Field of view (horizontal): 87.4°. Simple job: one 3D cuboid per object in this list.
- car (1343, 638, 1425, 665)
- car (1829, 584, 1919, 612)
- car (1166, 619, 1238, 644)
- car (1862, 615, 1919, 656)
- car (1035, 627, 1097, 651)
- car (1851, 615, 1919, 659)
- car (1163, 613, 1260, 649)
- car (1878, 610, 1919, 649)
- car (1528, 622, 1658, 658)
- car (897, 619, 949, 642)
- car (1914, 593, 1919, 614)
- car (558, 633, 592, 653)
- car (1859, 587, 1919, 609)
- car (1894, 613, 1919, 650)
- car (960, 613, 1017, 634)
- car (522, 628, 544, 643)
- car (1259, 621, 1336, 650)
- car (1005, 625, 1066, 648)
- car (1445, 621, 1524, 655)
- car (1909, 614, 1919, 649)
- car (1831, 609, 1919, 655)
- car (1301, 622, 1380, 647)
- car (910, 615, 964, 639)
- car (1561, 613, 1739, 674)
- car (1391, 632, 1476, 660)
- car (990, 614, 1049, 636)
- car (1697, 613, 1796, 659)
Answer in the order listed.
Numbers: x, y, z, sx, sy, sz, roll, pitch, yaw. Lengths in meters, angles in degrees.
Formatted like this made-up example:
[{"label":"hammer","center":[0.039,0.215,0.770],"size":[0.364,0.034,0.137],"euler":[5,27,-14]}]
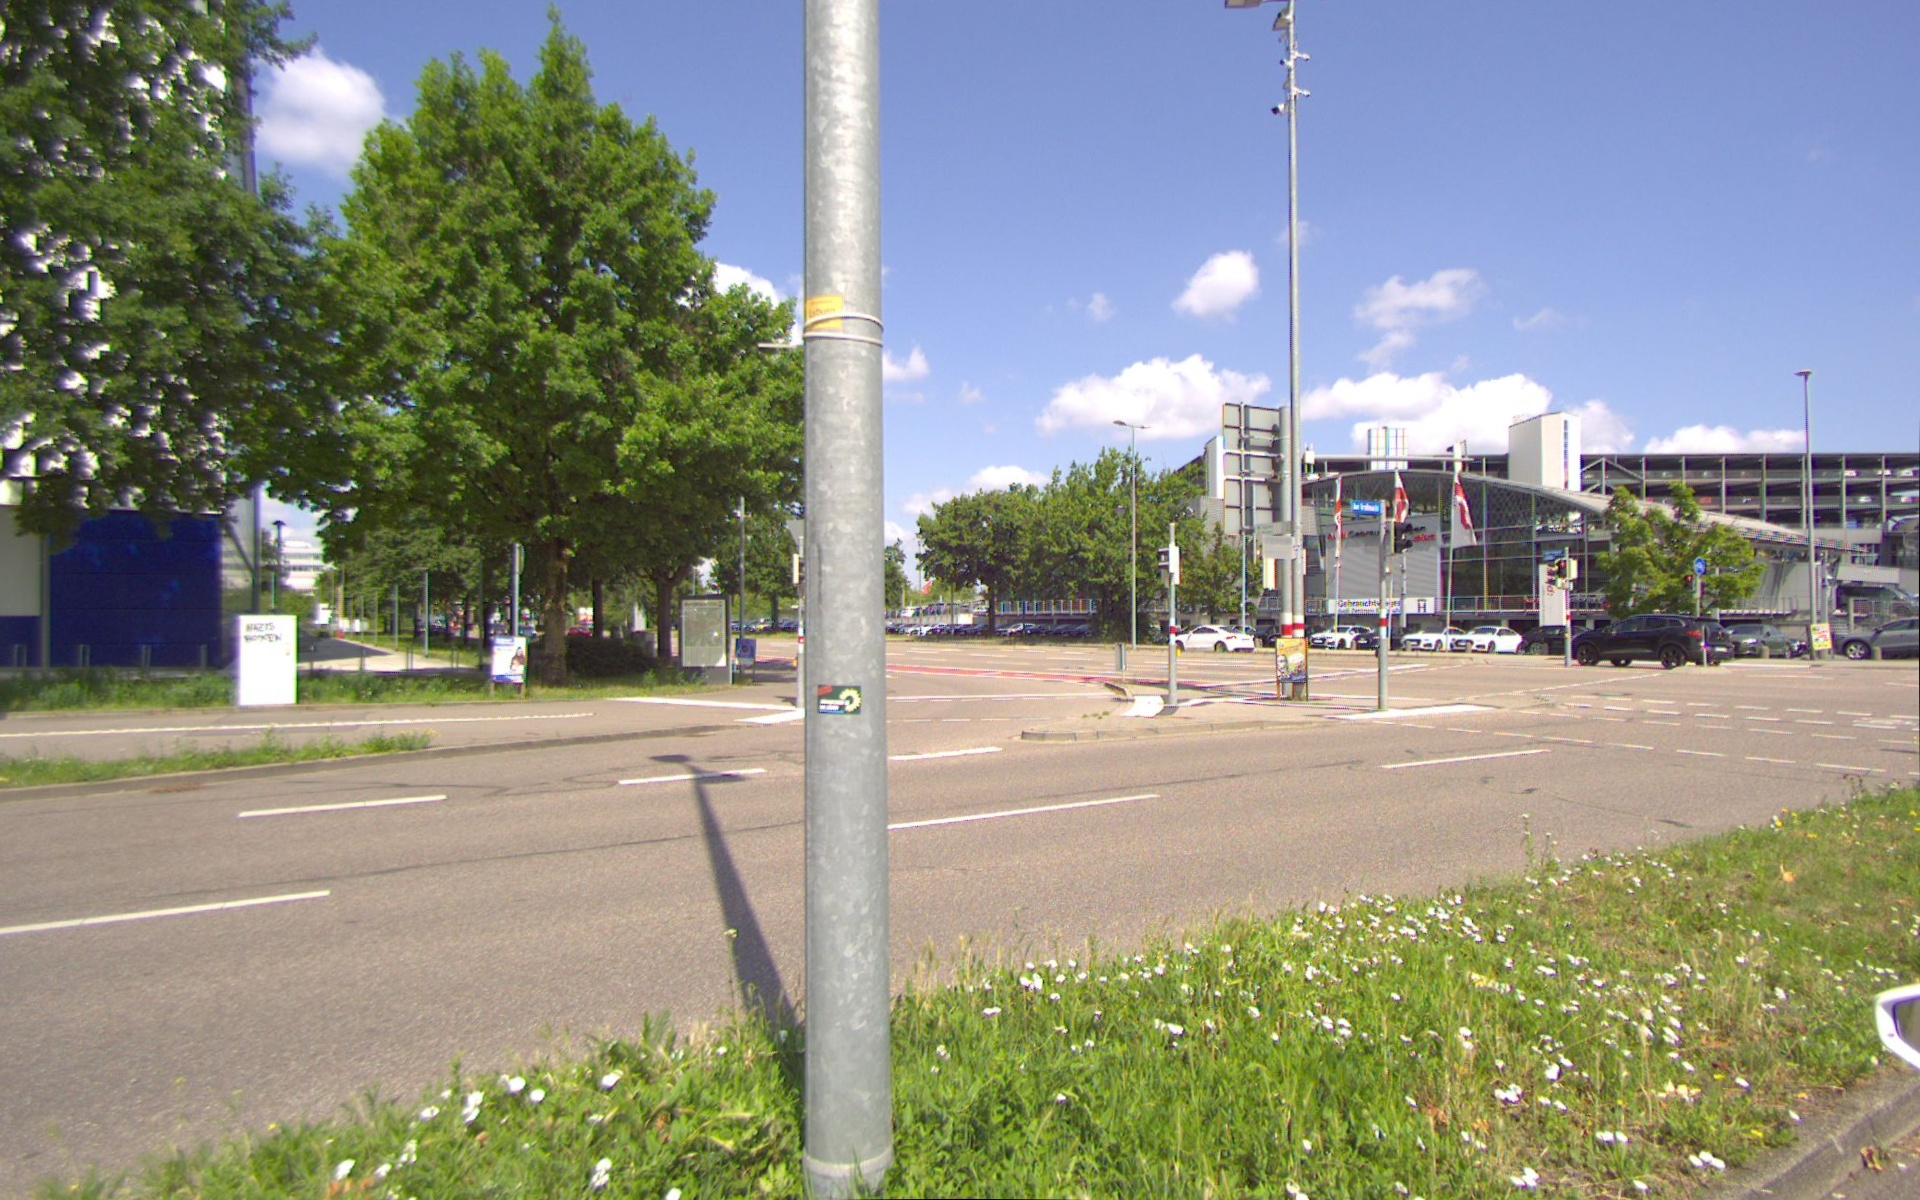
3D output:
[{"label":"car","center":[22.573,2.737,53.386],"size":[4.544,1.314,1.888],"euler":[2,0,-35]},{"label":"car","center":[63.993,-0.167,70.390],"size":[1.748,1.825,4.411],"euler":[2,0,-35]},{"label":"car","center":[15.448,2.024,64.054],"size":[4.545,1.423,1.888],"euler":[3,-1,-35]},{"label":"car","center":[41.829,1.553,42.938],"size":[1.887,1.700,4.548],"euler":[2,0,-33]},{"label":"car","center":[8.051,2.929,75.891],"size":[4.544,1.700,1.888],"euler":[2,0,-35]},{"label":"car","center":[39.545,1.540,40.915],"size":[1.887,1.700,4.548],"euler":[2,0,-33]},{"label":"car","center":[11.313,1.359,45.350],"size":[1.845,1.461,3.955],"euler":[2,0,-38]},{"label":"car","center":[43.971,1.367,44.475],"size":[1.887,1.700,4.548],"euler":[2,0,-33]},{"label":"car","center":[28.641,1.808,45.590],"size":[1.778,1.483,4.710],"euler":[5,-4,-35]},{"label":"car","center":[-3.422,2.851,93.599],"size":[4.544,2.076,1.888],"euler":[2,0,-35]},{"label":"car","center":[74.884,0.297,75.881],"size":[1.752,1.572,3.951],"euler":[2,0,-41]},{"label":"car","center":[-35.512,3.926,92.627],"size":[1.831,1.623,4.518],"euler":[1,-1,-36]},{"label":"car","center":[68.247,-0.153,73.183],"size":[1.752,1.572,3.951],"euler":[2,0,-41]},{"label":"car","center":[46.017,1.463,45.901],"size":[1.887,1.700,4.548],"euler":[1,-1,-33]},{"label":"car","center":[2.395,1.976,84.503],"size":[4.544,1.700,1.888],"euler":[2,0,-35]},{"label":"car","center":[-46.361,3.817,109.033],"size":[1.872,1.575,4.555],"euler":[0,-1,-27]},{"label":"car","center":[19.518,2.063,58.020],"size":[4.546,1.314,1.888],"euler":[6,-3,-35]},{"label":"car","center":[5.922,2.868,78.231],"size":[4.544,1.700,1.888],"euler":[2,0,-35]},{"label":"car","center":[25.503,1.859,48.829],"size":[3.961,1.483,1.778],"euler":[5,-4,-35]},{"label":"car","center":[48.113,1.524,47.402],"size":[1.887,1.700,4.548],"euler":[1,-1,-33]},{"label":"car","center":[37.373,1.262,39.358],"size":[1.887,1.700,4.548],"euler":[2,0,-33]},{"label":"car","center":[21.088,1.917,55.606],"size":[4.544,1.314,1.888],"euler":[2,0,-35]},{"label":"car","center":[-2.063,2.442,91.123],"size":[4.544,2.076,1.888],"euler":[2,0,-35]},{"label":"car","center":[20.999,1.286,30.764],"size":[1.751,1.639,4.247],"euler":[2,0,-21]},{"label":"car","center":[24.150,2.351,51.166],"size":[4.544,1.314,1.888],"euler":[2,0,-35]},{"label":"car","center":[4.793,2.004,80.792],"size":[4.544,1.700,1.888],"euler":[2,0,-35]},{"label":"car","center":[31.682,1.452,40.443],"size":[4.544,1.700,1.888],"euler":[2,0,-35]}]
